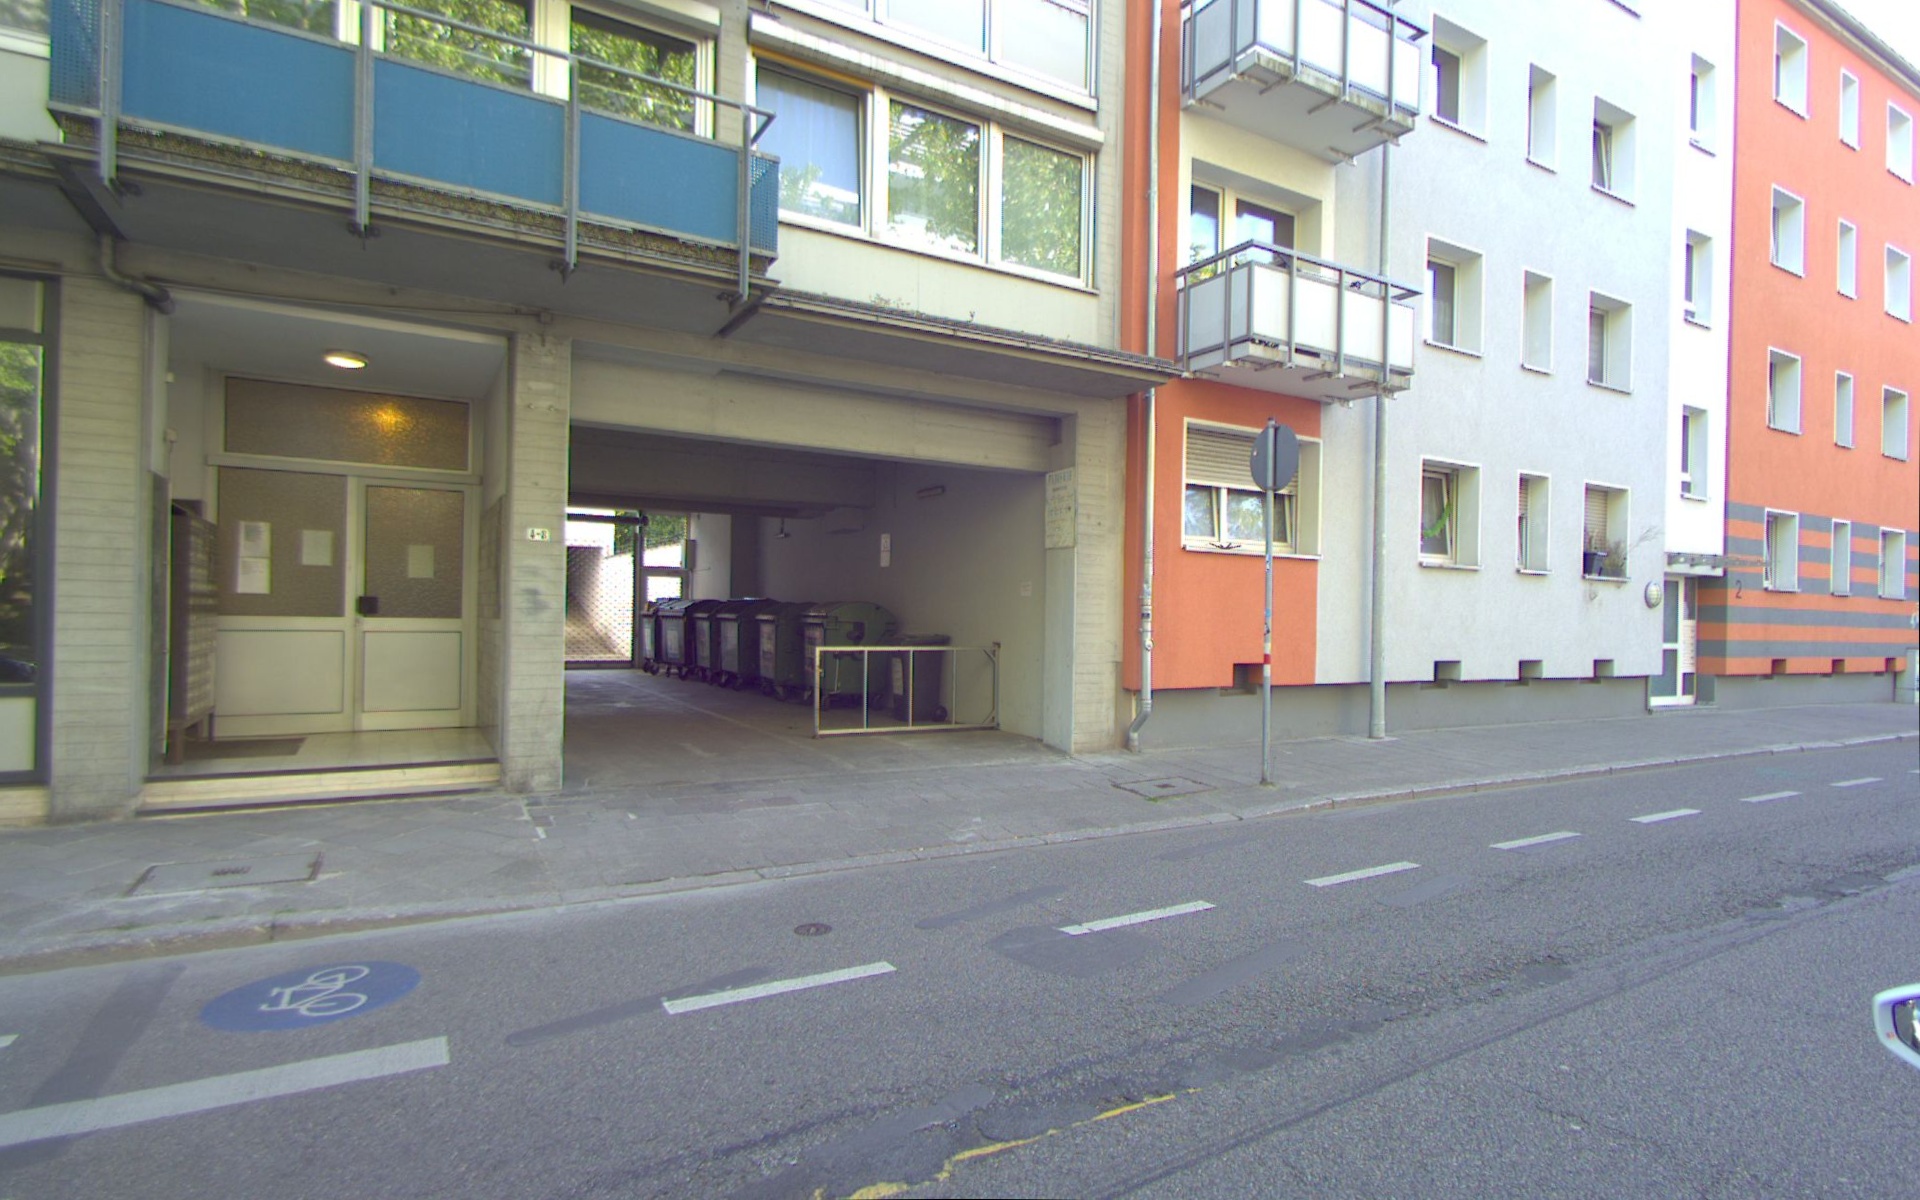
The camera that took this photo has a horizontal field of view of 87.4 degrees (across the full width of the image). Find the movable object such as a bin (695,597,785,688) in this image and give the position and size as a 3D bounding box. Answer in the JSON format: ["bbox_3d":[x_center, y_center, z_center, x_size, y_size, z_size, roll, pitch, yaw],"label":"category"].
[{"bbox_3d":[-3.897,0.733,17.746,1.264,1.515,1.155,2,0,-28],"label":"movable object such as a bin"}]

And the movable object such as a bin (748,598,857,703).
[{"bbox_3d":[-2.397,0.739,15.162,1.264,1.493,1.265,2,-1,-28],"label":"movable object such as a bin"}]

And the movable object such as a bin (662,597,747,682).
[{"bbox_3d":[-4.762,0.725,18.689,1.264,1.506,1.155,2,0,-28],"label":"movable object such as a bin"}]

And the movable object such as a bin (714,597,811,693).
[{"bbox_3d":[-3.294,0.731,16.698,1.264,1.506,1.155,2,0,-28],"label":"movable object such as a bin"}]

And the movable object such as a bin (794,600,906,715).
[{"bbox_3d":[-1.531,0.759,13.808,1.128,1.484,1.255,2,0,-28],"label":"movable object such as a bin"}]

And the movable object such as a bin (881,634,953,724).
[{"bbox_3d":[-0.531,0.964,12.456,0.694,1.061,0.567,2,0,-28],"label":"movable object such as a bin"}]

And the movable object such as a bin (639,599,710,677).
[{"bbox_3d":[-5.681,0.736,19.944,1.128,1.484,1.129,2,0,-28],"label":"movable object such as a bin"}]
